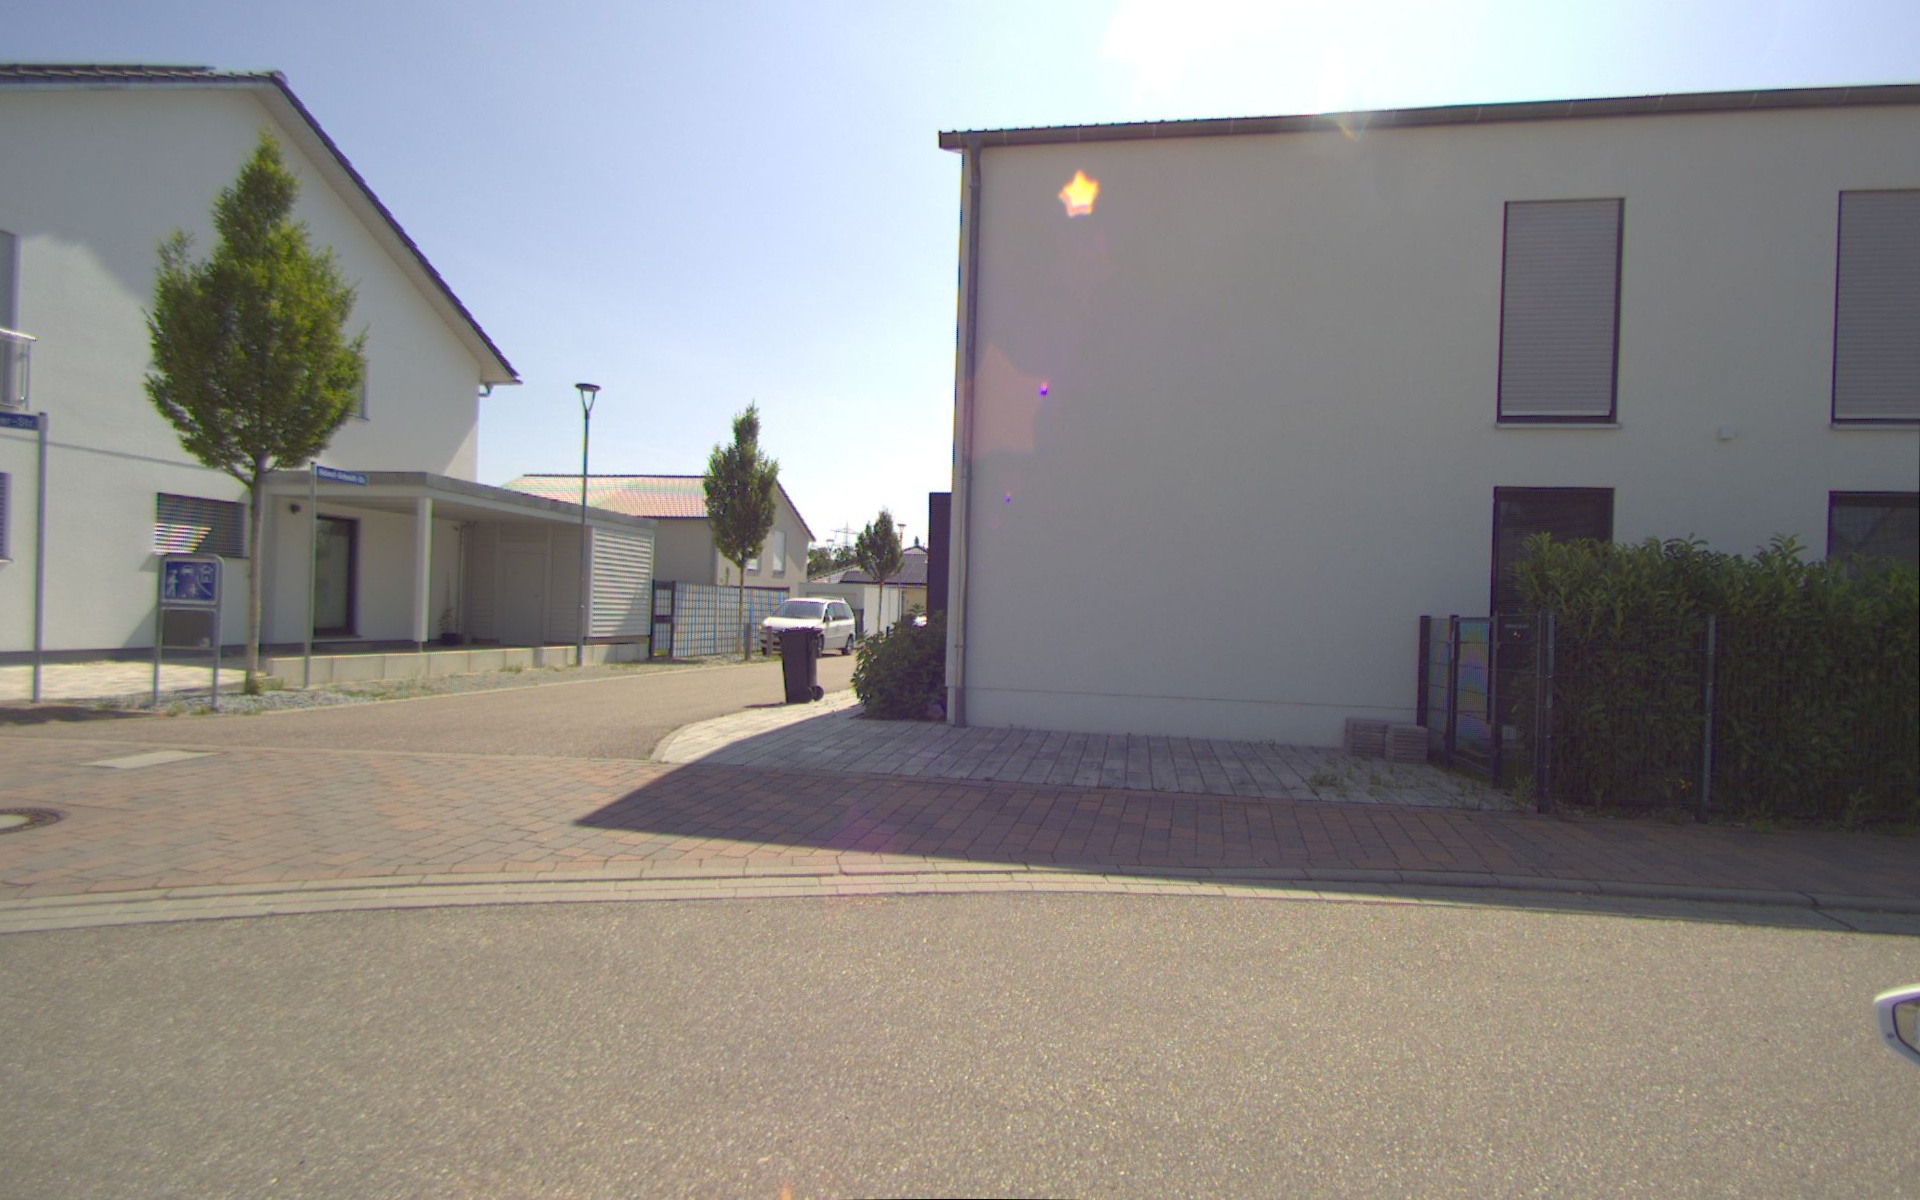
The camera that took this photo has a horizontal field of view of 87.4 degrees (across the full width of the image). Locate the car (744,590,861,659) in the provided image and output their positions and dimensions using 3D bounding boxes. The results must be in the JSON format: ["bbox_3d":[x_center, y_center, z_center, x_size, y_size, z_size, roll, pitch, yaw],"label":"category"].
[{"bbox_3d":[-4.702,0.764,30.685,1.959,1.813,4.650,3,-1,11],"label":"car"}]

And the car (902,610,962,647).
[{"bbox_3d":[-1.345,1.403,49.888,1.959,1.635,4.488,3,-1,11],"label":"car"}]

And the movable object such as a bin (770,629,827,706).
[{"bbox_3d":[-2.098,0.866,13.082,0.589,0.961,0.501,0,-1,10],"label":"movable object such as a bin"}]
